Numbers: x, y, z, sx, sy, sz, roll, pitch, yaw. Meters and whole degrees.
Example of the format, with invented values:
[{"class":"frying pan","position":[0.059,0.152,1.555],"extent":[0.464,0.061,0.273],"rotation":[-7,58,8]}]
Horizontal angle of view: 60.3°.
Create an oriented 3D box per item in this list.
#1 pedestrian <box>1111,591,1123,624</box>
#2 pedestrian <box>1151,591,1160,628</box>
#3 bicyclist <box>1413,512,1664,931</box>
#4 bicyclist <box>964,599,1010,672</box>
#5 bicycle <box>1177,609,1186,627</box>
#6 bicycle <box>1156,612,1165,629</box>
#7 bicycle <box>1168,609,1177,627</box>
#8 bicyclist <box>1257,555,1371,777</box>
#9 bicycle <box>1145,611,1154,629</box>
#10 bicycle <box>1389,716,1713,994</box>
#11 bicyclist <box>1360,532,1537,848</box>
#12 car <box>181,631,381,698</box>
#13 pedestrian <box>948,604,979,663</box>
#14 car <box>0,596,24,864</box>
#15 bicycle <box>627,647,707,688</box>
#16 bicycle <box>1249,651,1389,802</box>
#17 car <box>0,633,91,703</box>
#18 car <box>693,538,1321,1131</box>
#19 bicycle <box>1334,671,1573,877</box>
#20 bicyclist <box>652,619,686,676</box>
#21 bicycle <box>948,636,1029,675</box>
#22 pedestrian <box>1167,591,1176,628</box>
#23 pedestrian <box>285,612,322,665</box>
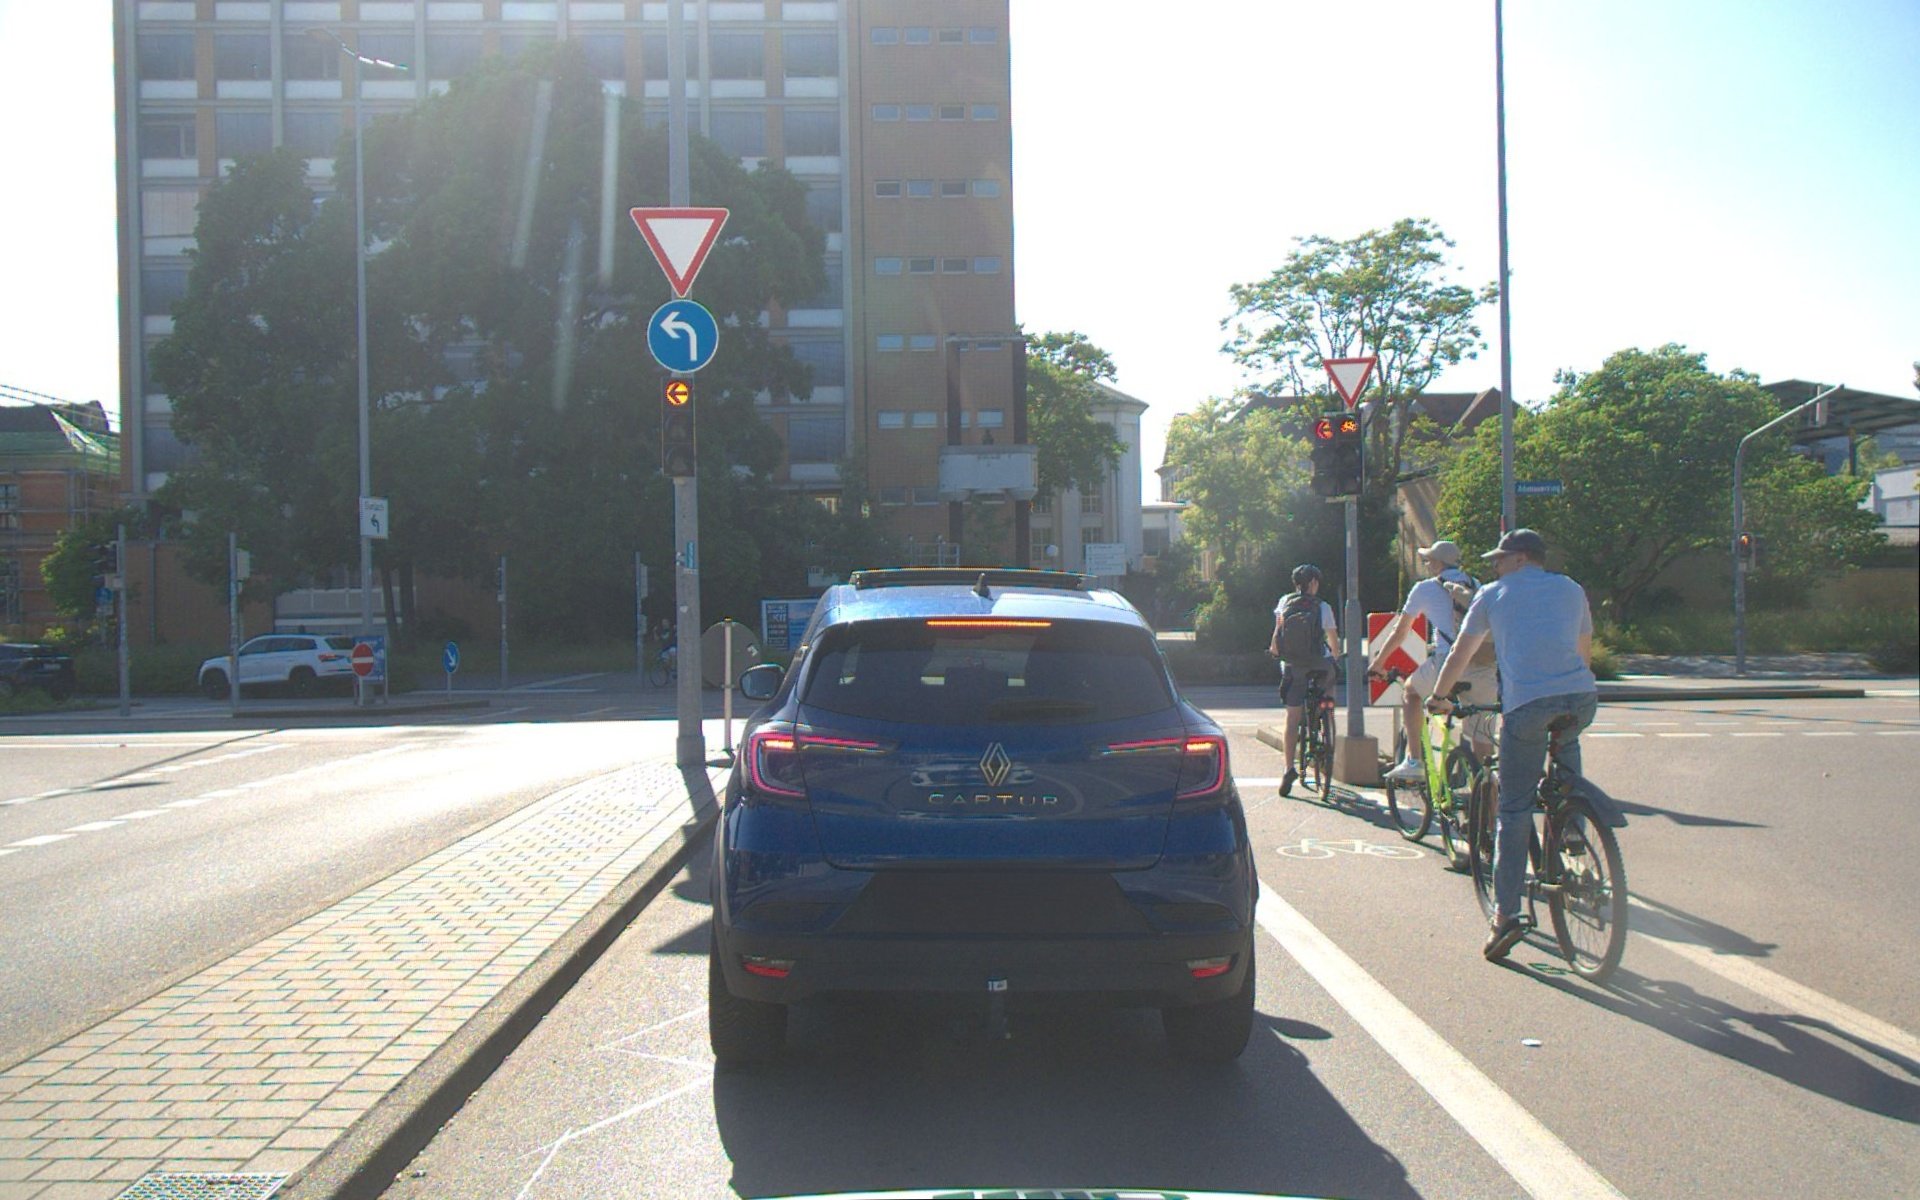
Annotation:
[{"class":"pedestrian","position":[9.013,0.453,95.059],"extent":[0.610,1.888,0.563],"rotation":[-1,0,2]},{"class":"pedestrian","position":[10.796,0.517,91.223],"extent":[0.465,2.049,0.523],"rotation":[-1,0,5]},{"class":"bicyclist","position":[2.505,0.498,7.265],"extent":[0.736,1.698,1.016],"rotation":[1,0,0]},{"class":"bicyclist","position":[0.717,0.946,43.850],"extent":[1.078,1.900,0.653],"rotation":[-1,0,10]},{"class":"bicycle","position":[12.676,1.034,94.584],"extent":[0.397,0.990,1.684],"rotation":[1,0,3]},{"class":"bicycle","position":[11.400,1.157,94.183],"extent":[0.397,0.990,1.684],"rotation":[1,0,3]},{"class":"bicycle","position":[12.152,1.025,94.563],"extent":[0.397,0.990,1.684],"rotation":[1,0,3]},{"class":"bicyclist","position":[2.757,0.500,12.970],"extent":[0.711,1.657,0.969],"rotation":[1,0,3]},{"class":"bicycle","position":[10.791,1.146,94.217],"extent":[0.397,0.990,1.684],"rotation":[1,0,3]},{"class":"bicycle","position":[2.500,1.039,7.268],"extent":[0.725,0.911,1.978],"rotation":[1,0,0]},{"class":"bicyclist","position":[2.880,0.508,9.836],"extent":[0.633,1.769,1.065],"rotation":[1,0,-6]},{"class":"car","position":[-17.791,1.691,43.371],"extent":[4.721,1.660,1.845],"rotation":[-1,0,15]},{"class":"pedestrian","position":[0.101,0.933,46.419],"extent":[0.721,1.631,0.599],"rotation":[-1,0,12]},{"class":"car","position":[-6.160,0.803,8.210],"extent":[1.760,1.609,4.235],"rotation":[-3,0,-18]},{"class":"bicycle","position":[-7.723,1.765,43.613],"extent":[1.982,0.981,0.593],"rotation":[-1,0,-28]},{"class":"bicycle","position":[2.759,0.935,12.918],"extent":[0.723,1.012,2.174],"rotation":[1,0,3]},{"class":"car","position":[-24.571,1.719,42.107],"extent":[4.281,1.660,1.845],"rotation":[-1,0,18]},{"class":"car","position":[0.058,0.667,6.676],"extent":[1.767,1.660,3.998],"rotation":[1,0,-3]},{"class":"bicycle","position":[2.868,0.977,9.839],"extent":[0.646,1.020,1.967],"rotation":[1,0,-6]},{"class":"bicyclist","position":[-7.675,1.241,43.640],"extent":[0.728,1.466,0.593],"rotation":[-1,0,-27]},{"class":"bicycle","position":[0.764,1.476,43.846],"extent":[2.037,0.946,0.697],"rotation":[-2,1,10]},{"class":"pedestrian","position":[11.823,0.541,92.557],"extent":[0.465,2.049,0.468],"rotation":[-1,0,5]},{"class":"pedestrian","position":[-20.713,1.214,52.189],"extent":[0.842,1.598,0.560],"rotation":[-4,0,14]}]
